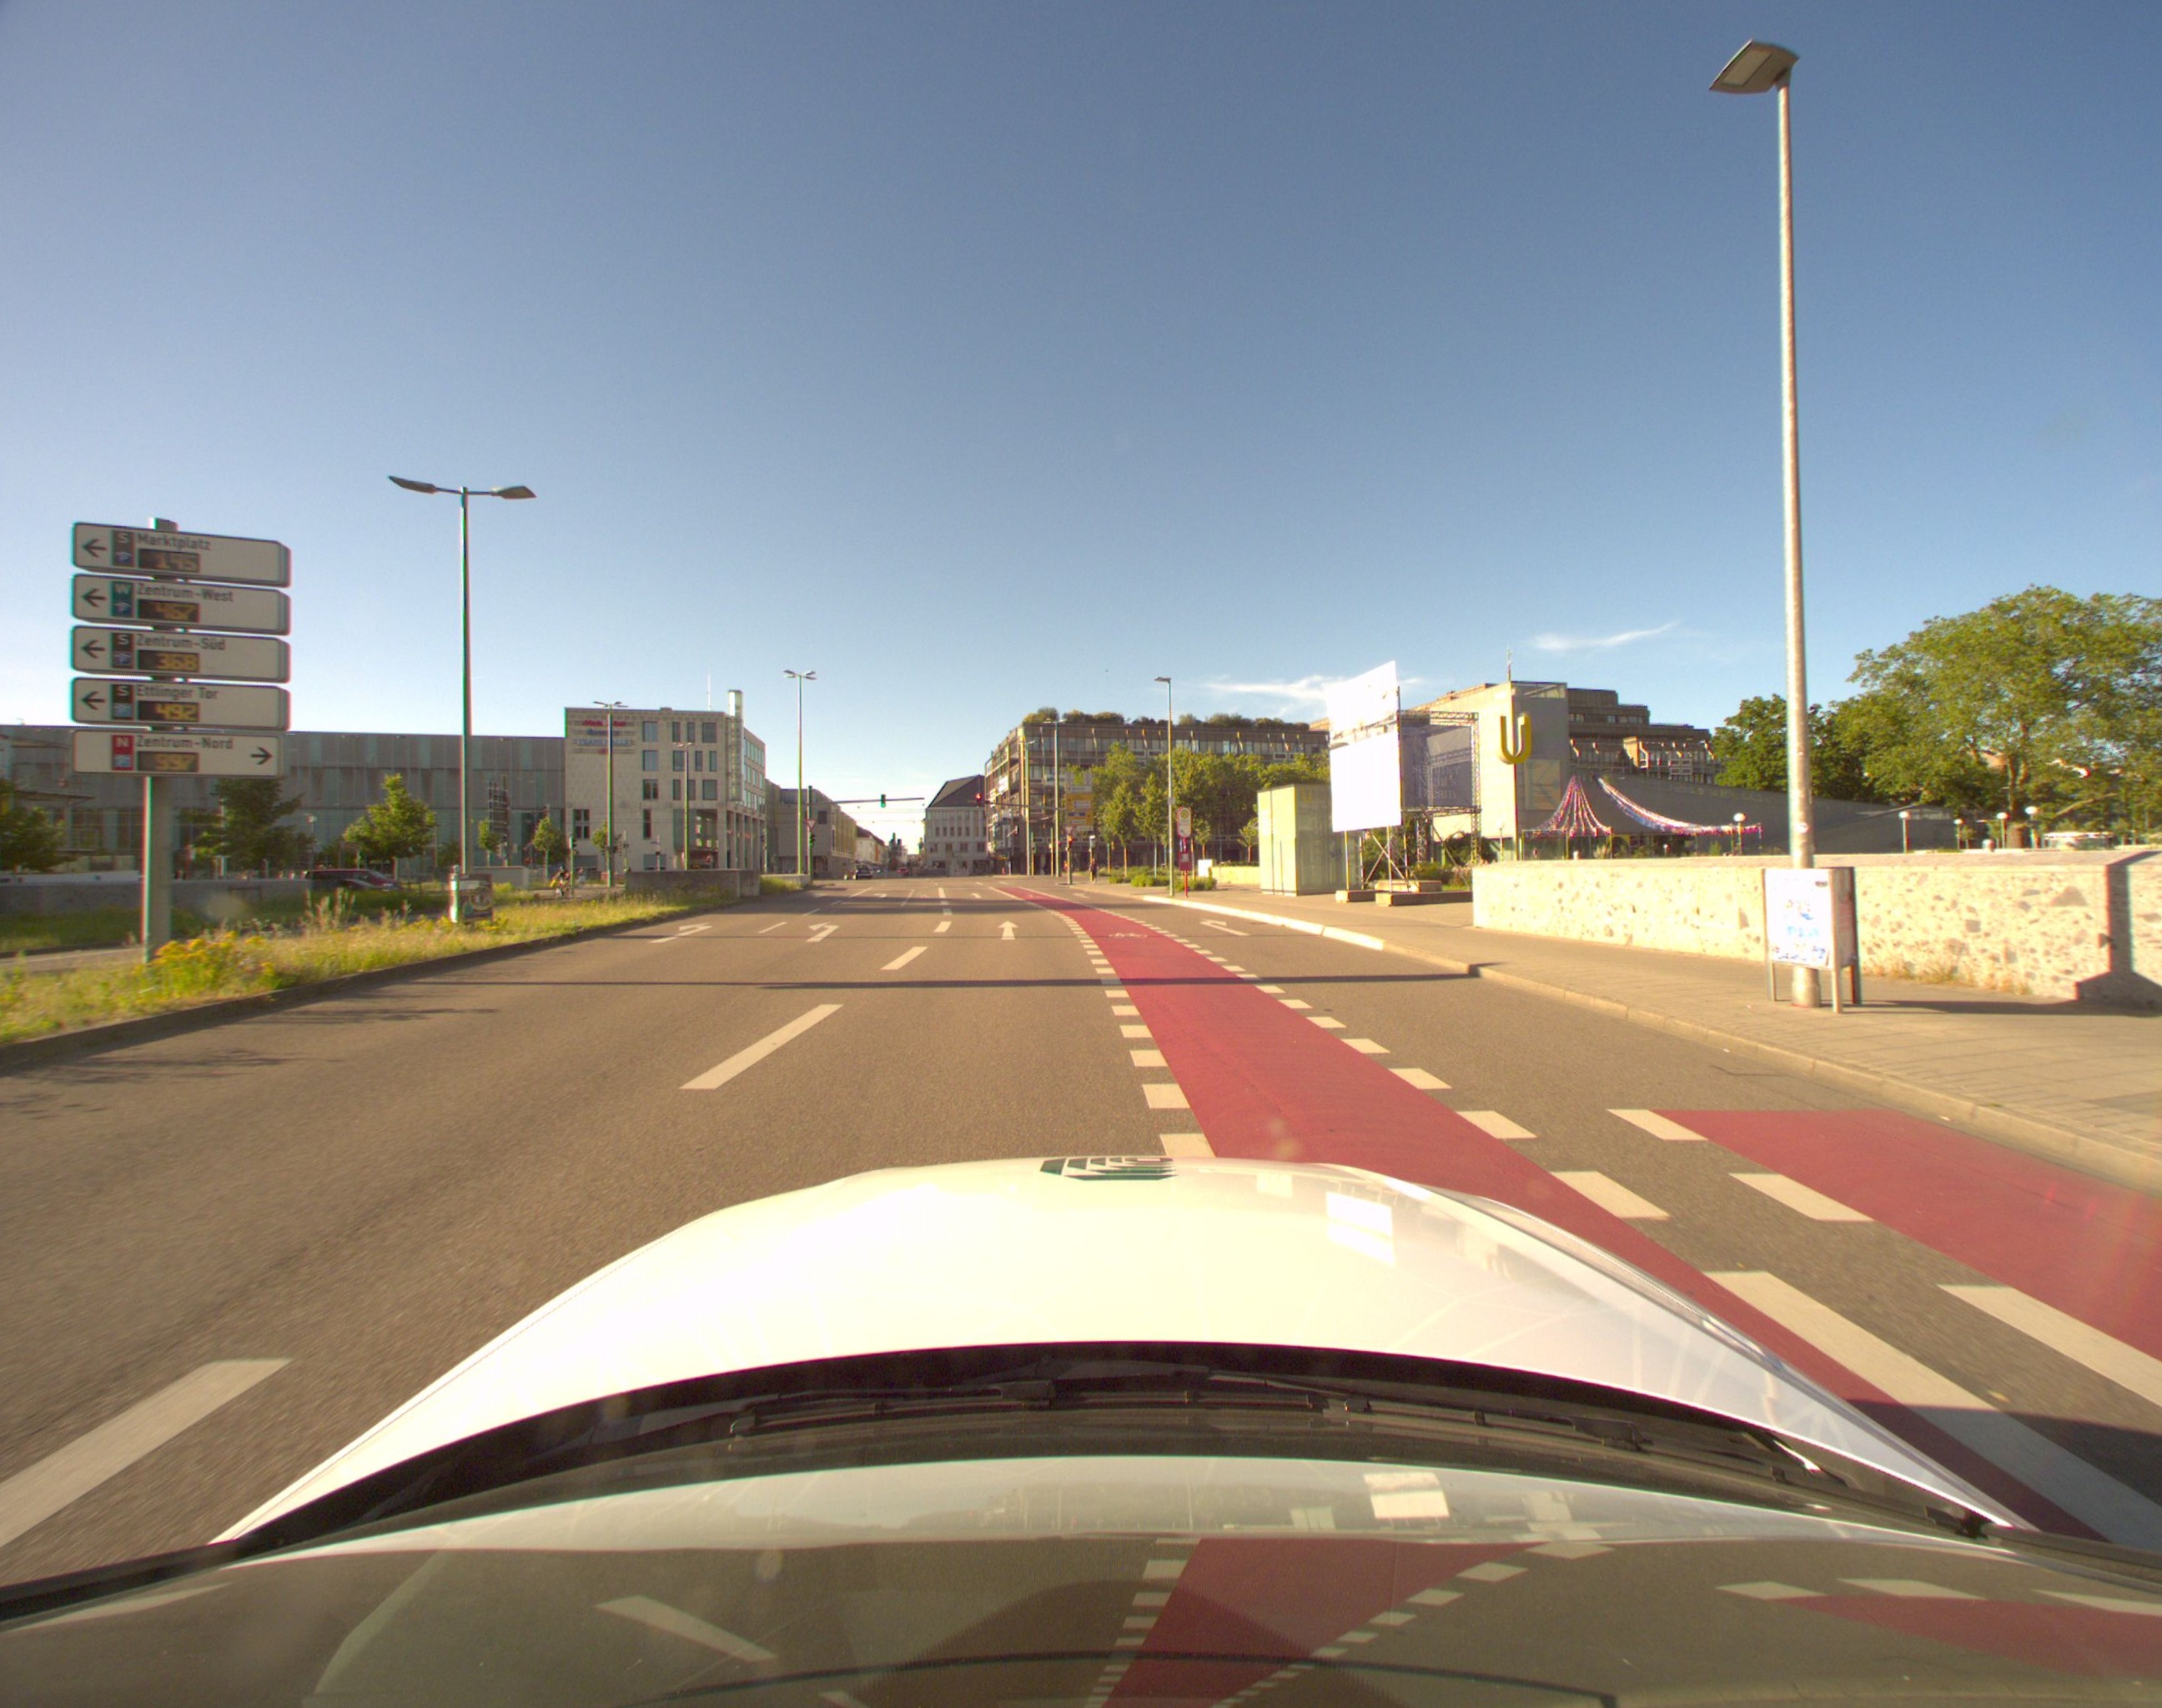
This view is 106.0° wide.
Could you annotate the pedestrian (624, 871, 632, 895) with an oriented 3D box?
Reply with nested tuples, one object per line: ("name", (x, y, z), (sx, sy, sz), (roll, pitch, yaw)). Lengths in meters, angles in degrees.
("pedestrian", (-39.382, 2.519, 70.829), (0.517, 2.014, 0.620), (-1, -1, -23))

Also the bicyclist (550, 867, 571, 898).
("bicyclist", (-25.426, 1.370, 39.792), (0.606, 1.489, 0.680), (-1, -1, -5))

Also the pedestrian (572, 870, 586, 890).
("pedestrian", (-38.238, 1.960, 62.000), (0.724, 1.502, 0.798), (-1, -1, -20))

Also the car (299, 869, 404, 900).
("car", (-46.827, 1.939, 52.408), (4.653, 1.810, 1.860), (-1, -2, -18))

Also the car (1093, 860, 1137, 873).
("car", (3.892, 1.473, 93.207), (4.637, 1.356, 1.991), (-1, 1, -14))

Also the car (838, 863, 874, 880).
("car", (-21.634, 1.691, 78.201), (1.792, 1.564, 3.743), (0, -1, -43))

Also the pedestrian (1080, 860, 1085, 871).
("pedestrian", (0.202, 1.556, 112.127), (0.621, 1.519, 0.653), (-1, -1, -2))

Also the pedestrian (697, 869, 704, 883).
("pedestrian", (-45.090, 2.646, 96.545), (0.623, 1.608, 0.651), (-1, -1, -11))

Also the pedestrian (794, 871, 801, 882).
("pedestrian", (-41.770, 3.283, 120.108), (0.748, 1.608, 0.618), (-1, -1, -38))

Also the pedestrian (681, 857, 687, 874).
("pedestrian", (-47.337, 1.325, 97.061), (0.624, 2.014, 0.513), (-1, -1, -19))

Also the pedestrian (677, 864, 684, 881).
("pedestrian", (-47.592, 2.208, 96.811), (0.624, 2.014, 0.513), (-1, -1, -19))

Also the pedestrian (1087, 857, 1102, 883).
("pedestrian", (0.961, 1.124, 56.728), (0.816, 1.748, 1.045), (-2, -1, 11))

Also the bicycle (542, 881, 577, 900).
("bicycle", (-25.411, 1.772, 39.712), (0.611, 0.861, 1.947), (-1, 0, -5))

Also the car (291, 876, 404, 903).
("car", (-43.945, 2.127, 48.893), (4.653, 1.375, 1.860), (-1, -2, -18))

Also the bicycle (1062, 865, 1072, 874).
("bicycle", (-1.650, 1.800, 93.148), (1.076, 0.971, 0.457), (-1, -1, -9))

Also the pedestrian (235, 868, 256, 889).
("pedestrian", (-60.572, 1.777, 59.026), (0.803, 1.502, 0.720), (-1, -1, -18))

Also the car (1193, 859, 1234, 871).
("car", (16.459, 1.374, 101.128), (4.637, 1.356, 1.991), (-1, 1, -14))

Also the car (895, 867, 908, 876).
("car", (-32.986, 3.200, 149.534), (1.998, 1.552, 3.977), (-1, 0, -16))

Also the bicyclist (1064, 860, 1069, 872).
("bicyclist", (-1.607, 1.363, 93.166), (0.508, 1.338, 0.451), (-1, -1, -8))
